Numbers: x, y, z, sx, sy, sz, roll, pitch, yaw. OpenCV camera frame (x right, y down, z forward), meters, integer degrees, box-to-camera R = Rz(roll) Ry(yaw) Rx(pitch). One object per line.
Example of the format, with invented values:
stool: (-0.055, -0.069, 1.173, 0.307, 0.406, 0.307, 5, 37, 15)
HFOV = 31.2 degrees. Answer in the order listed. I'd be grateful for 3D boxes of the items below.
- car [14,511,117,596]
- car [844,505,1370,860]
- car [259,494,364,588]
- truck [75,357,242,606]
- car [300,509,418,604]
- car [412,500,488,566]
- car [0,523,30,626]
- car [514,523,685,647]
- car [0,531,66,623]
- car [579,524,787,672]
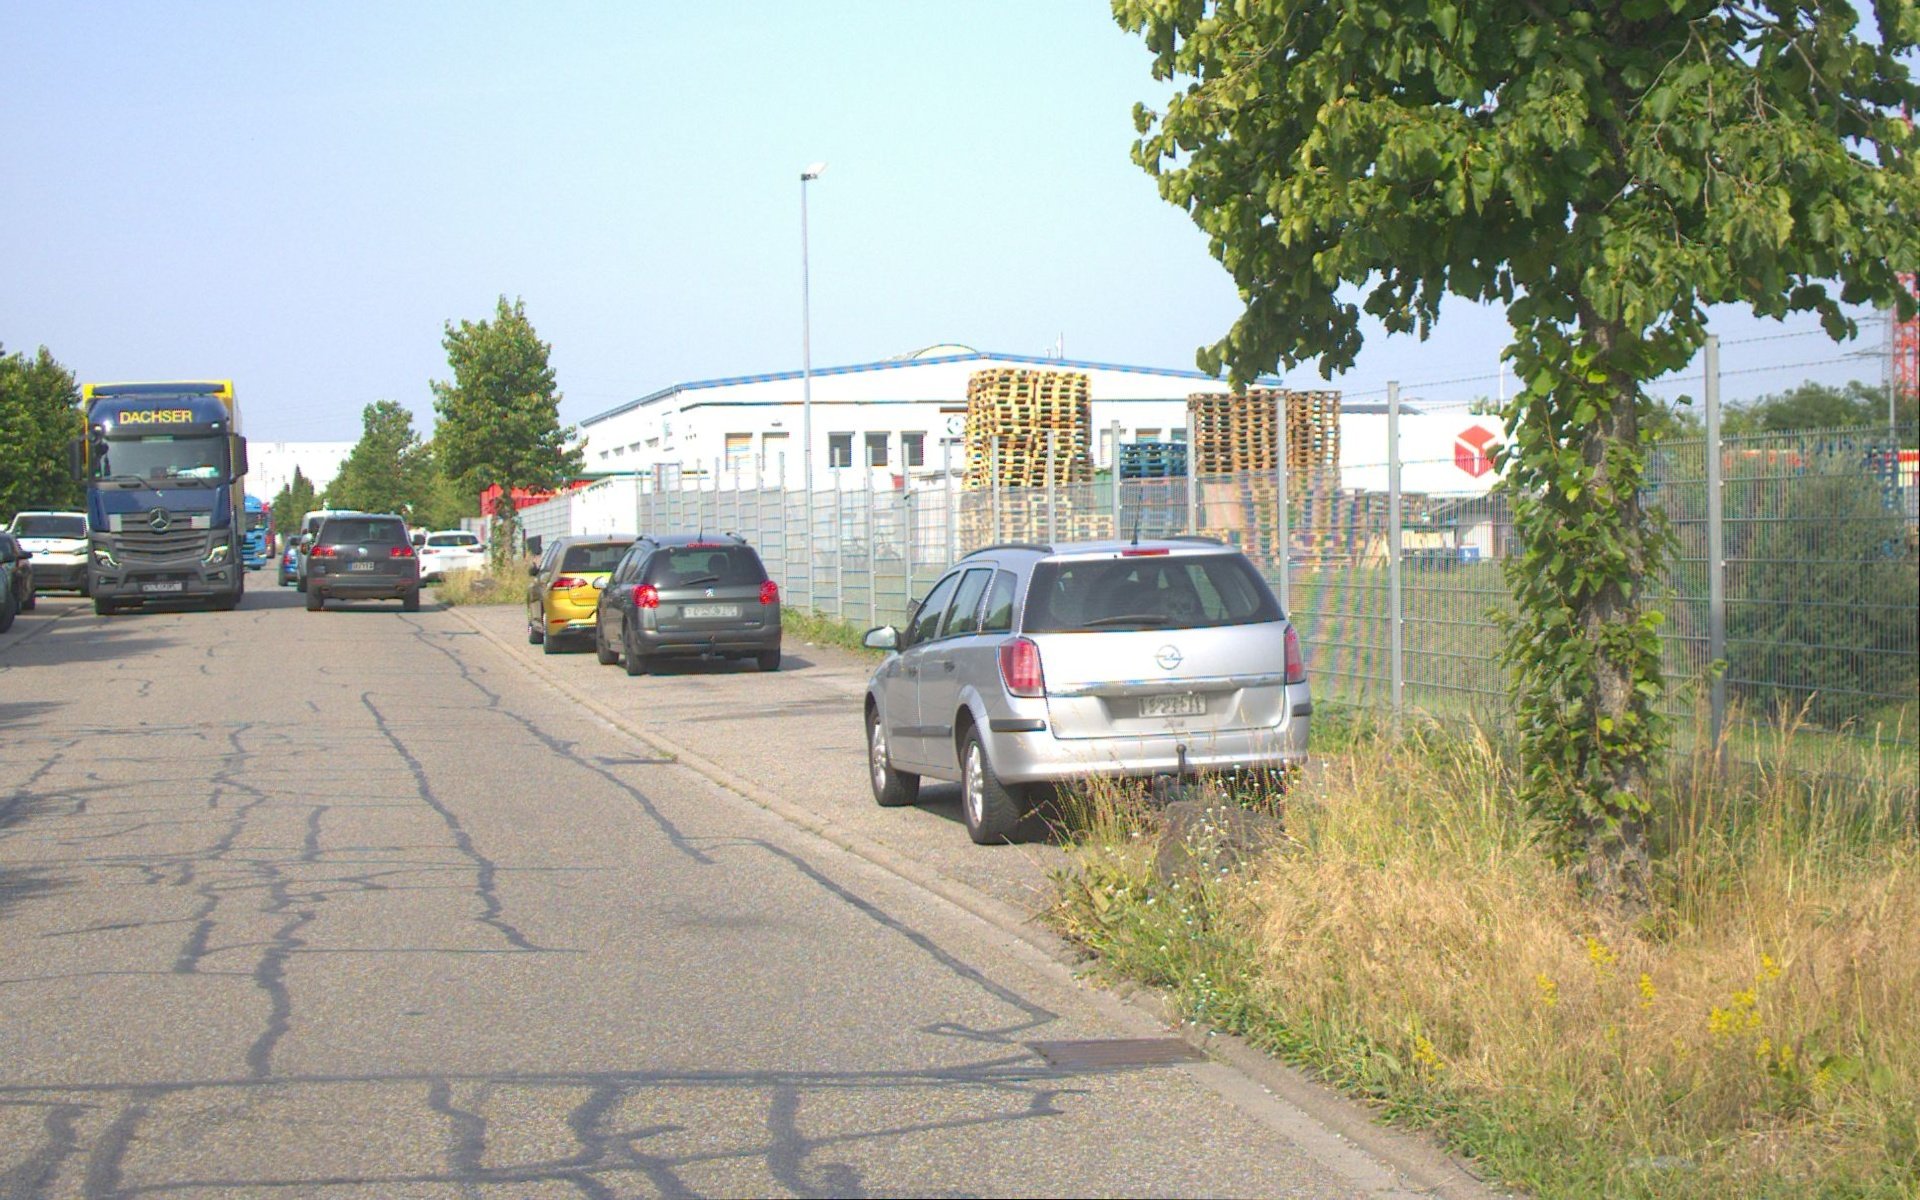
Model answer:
car: (-19.512, -1.036, 75.076, 1.832, 1.756, 4.050, 1, 1, -10)
car: (0.647, 0.337, 18.650, 1.798, 1.620, 4.450, -2, 2, -11)
car: (-15.021, -1.357, 79.866, 2.121, 2.103, 4.626, -1, 1, -8)
truck: (-14.641, -2.133, 63.352, 2.497, 4.131, 10.382, -2, 2, -11)
car: (-10.371, -0.757, 59.533, 1.880, 1.581, 4.114, -1, 1, -8)
car: (-13.237, -1.739, 89.046, 1.714, 1.674, 3.951, 0, 1, -12)
car: (-15.223, -0.431, 52.068, 1.832, 1.491, 4.050, 1, 1, -10)
car: (-4.687, -0.237, 44.245, 1.714, 1.450, 4.188, -2, 2, -12)
car: (-16.331, -0.423, 58.480, 1.832, 1.491, 4.050, 1, 1, -10)
car: (-3.169, -0.072, 38.677, 1.714, 1.510, 4.005, -3, 2, -13)
